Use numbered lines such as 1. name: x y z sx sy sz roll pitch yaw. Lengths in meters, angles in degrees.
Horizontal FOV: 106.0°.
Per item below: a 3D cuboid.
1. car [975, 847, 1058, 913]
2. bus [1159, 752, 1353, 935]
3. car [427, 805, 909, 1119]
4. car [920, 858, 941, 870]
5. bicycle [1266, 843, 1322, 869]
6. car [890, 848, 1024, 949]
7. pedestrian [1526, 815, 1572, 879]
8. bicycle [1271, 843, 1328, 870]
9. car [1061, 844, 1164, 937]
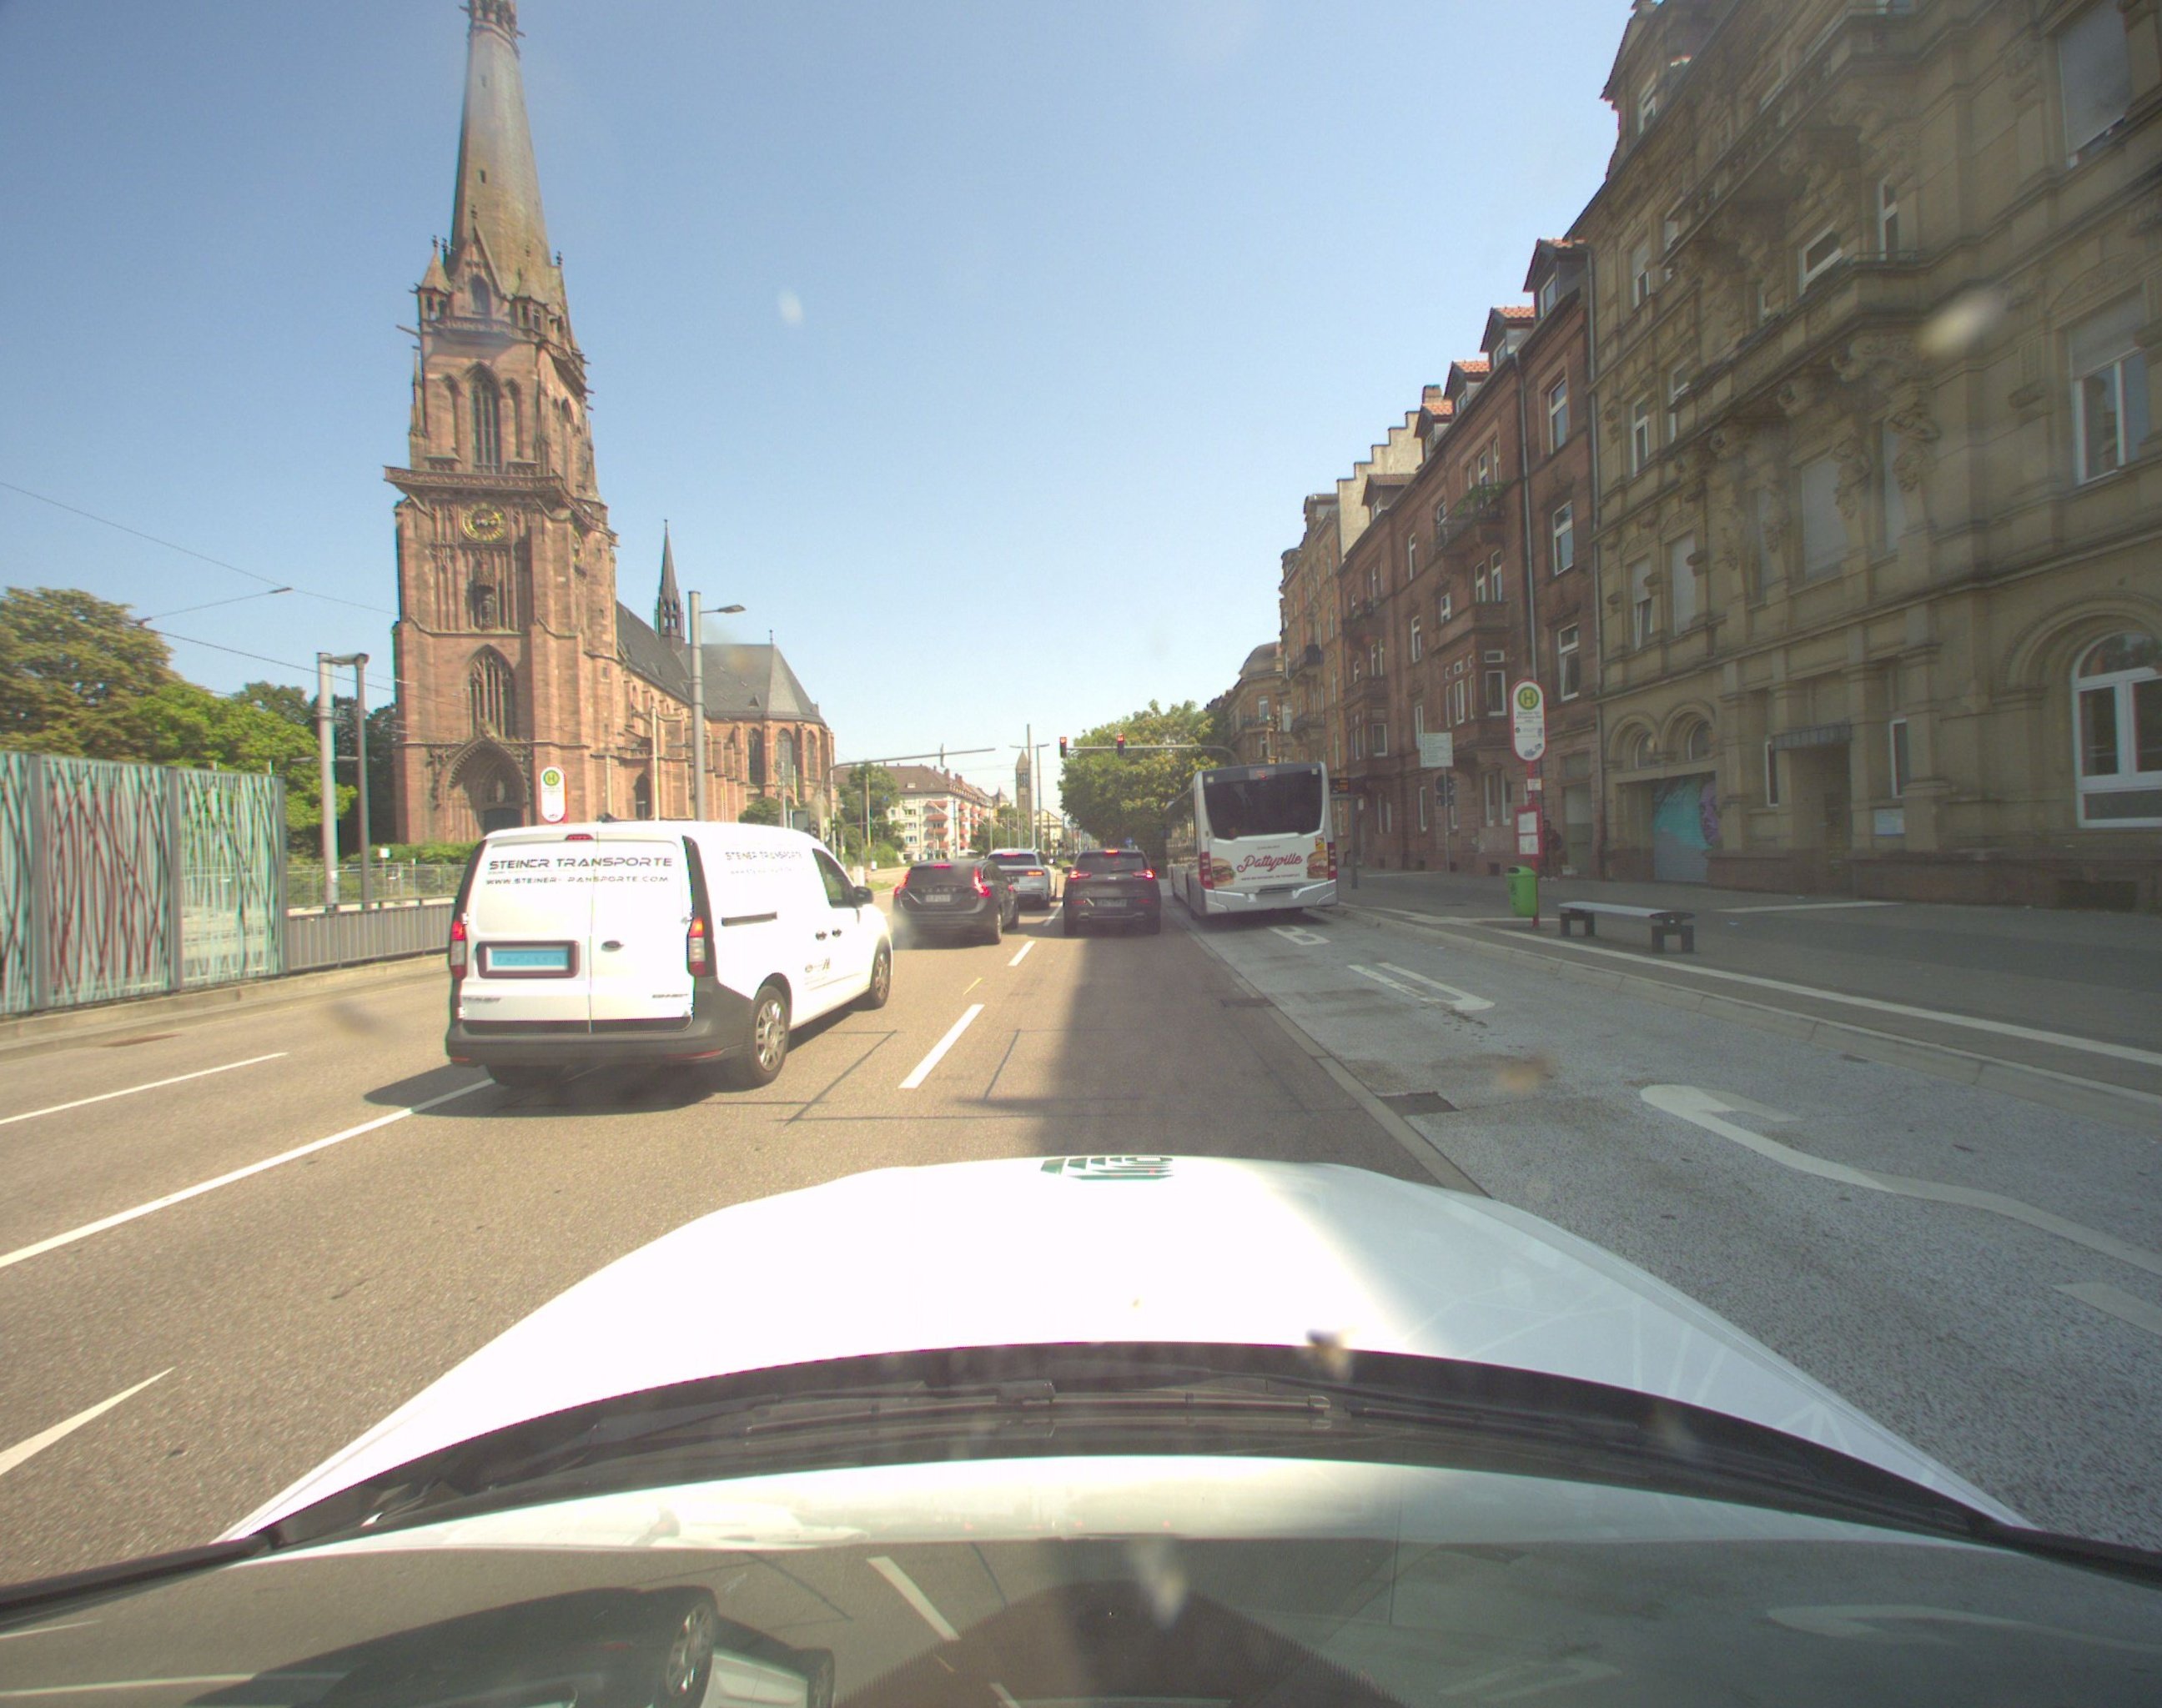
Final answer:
1. car: -1.717 0.654 23.160 1.895 1.651 4.309 -1 0 1
2. bus: 3.730 -0.196 20.724 2.732 3.106 11.964 -5 0 3
3. car: -2.893 0.635 6.922 1.740 1.820 4.242 -1 0 2
4. car: -20.909 1.344 113.275 1.739 1.435 4.576 -4 0 2
5. bicycle: 12.393 0.136 47.396 2.983 1.371 0.871 -3 0 0
6. car: -2.161 0.716 15.353 1.741 1.614 4.309 -1 0 1
7. pedestrian: 13.346 -0.194 23.217 0.872 1.778 0.737 -2 0 -26
8. bicycle: 12.468 0.150 46.489 2.983 1.371 0.871 -3 0 0
9. car: 0.656 0.644 16.732 1.825 1.651 4.311 -1 0 2
